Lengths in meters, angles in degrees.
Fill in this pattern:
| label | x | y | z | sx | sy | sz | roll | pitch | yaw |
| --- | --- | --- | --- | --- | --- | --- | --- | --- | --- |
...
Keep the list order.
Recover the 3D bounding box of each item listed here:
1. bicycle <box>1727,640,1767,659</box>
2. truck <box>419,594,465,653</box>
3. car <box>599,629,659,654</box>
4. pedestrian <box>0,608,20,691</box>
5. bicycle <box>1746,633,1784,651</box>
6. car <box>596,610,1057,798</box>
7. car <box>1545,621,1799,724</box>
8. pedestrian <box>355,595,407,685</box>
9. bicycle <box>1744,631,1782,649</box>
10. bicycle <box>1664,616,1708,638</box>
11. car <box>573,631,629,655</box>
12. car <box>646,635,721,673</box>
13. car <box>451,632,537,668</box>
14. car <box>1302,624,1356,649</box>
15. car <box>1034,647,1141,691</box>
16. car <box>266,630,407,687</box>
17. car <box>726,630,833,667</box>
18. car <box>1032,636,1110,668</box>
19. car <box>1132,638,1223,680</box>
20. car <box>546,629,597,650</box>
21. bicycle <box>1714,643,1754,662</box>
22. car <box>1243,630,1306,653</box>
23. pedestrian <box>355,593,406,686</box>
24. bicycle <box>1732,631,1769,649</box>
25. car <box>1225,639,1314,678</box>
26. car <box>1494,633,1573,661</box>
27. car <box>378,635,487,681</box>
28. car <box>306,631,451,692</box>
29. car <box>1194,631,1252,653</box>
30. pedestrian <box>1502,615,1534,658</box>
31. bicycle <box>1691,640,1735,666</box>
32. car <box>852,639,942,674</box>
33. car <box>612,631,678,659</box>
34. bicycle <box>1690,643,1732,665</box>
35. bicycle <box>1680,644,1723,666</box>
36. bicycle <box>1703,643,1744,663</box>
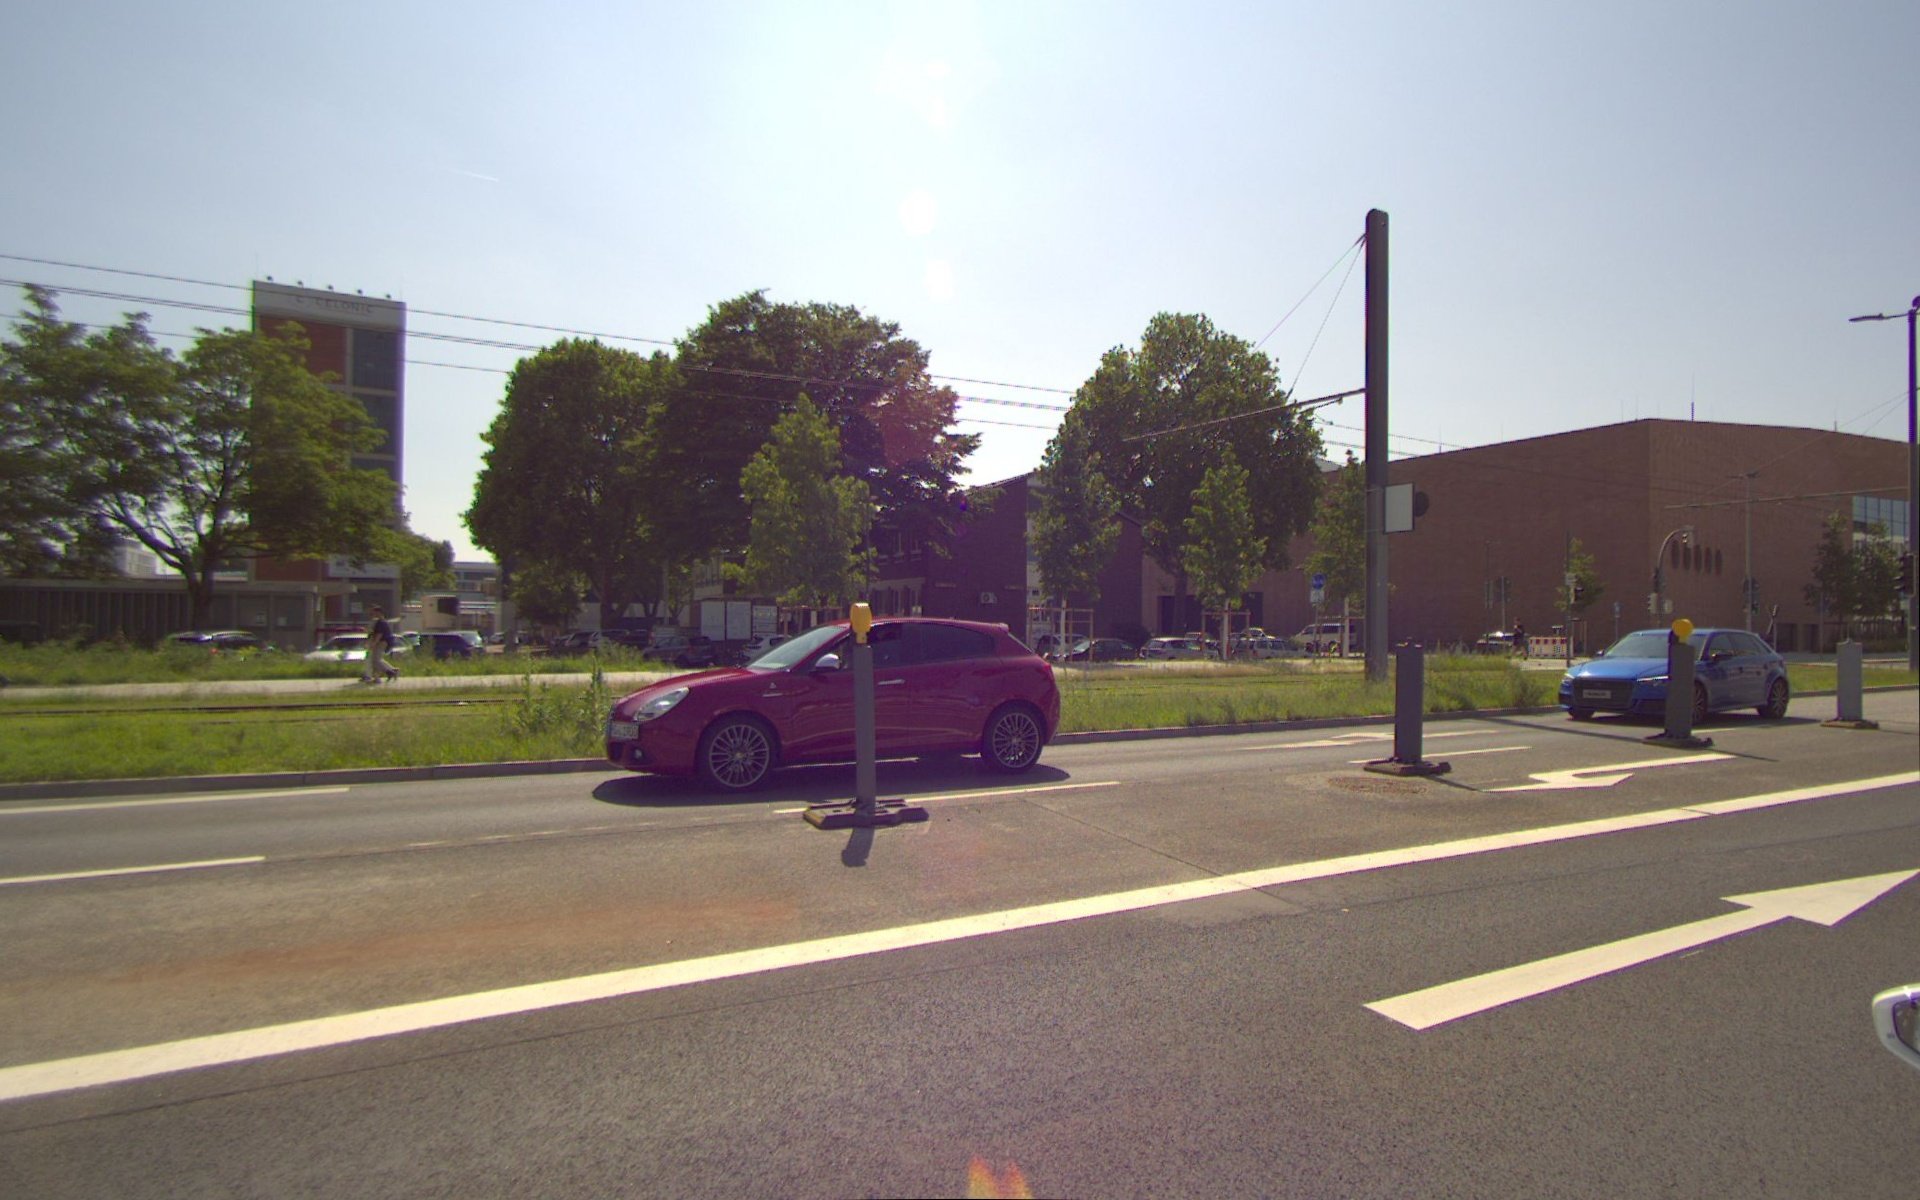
| label | x | y | z | sx | sy | sz | roll | pitch | yaw |
| --- | --- | --- | --- | --- | --- | --- | --- | --- | --- |
| bicycle | 53.091 | 3.316 | 67.789 | 0.535 | 1.228 | 2.035 | 1 | -1 | -39 |
| truck | -40.859 | 1.703 | 78.961 | 2.854 | 4.136 | 12.545 | 1 | 0 | -29 |
| car | -20.620 | 2.593 | 62.606 | 3.307 | 1.472 | 1.529 | 1 | 0 | -31 |
| pedestrian | -19.414 | 0.971 | 19.959 | 0.815 | 1.597 | 0.812 | 1 | 1 | -23 |
| bicycle | 56.652 | 2.946 | 70.679 | 0.535 | 1.228 | 2.035 | 1 | -1 | -39 |
| car | -1.185 | 0.866 | 9.314 | 3.948 | 1.435 | 1.574 | 2 | -2 | -27 |
| car | 11.325 | 1.084 | 15.919 | 4.238 | 1.446 | 1.621 | 1 | -2 | -29 |
| pedestrian | -13.545 | 0.923 | 23.537 | 0.970 | 2.040 | 0.836 | 1 | 0 | -26 |
| bicycle | 56.248 | 2.793 | 70.376 | 0.535 | 1.228 | 2.035 | 1 | -1 | -39 |
| bicycle | 43.316 | 1.601 | 59.950 | 0.535 | 1.228 | 2.033 | 1 | -1 | -40 |
| car | -24.080 | 2.874 | 67.427 | 3.307 | 1.472 | 1.529 | 1 | 0 | -31 |
| car | -12.080 | 2.315 | 43.819 | 1.533 | 1.476 | 3.701 | 1 | -1 | -45 |
| car | -20.359 | 2.157 | 43.903 | 3.307 | 1.472 | 1.529 | 1 | 0 | -31 |
| car | 27.068 | 2.668 | 73.760 | 1.673 | 1.712 | 3.529 | 1 | 0 | -28 |
| car | 5.566 | 2.969 | 43.741 | 4.475 | 1.784 | 1.691 | 2 | -1 | -29 |
| car | -19.272 | 1.759 | 31.142 | 3.599 | 1.612 | 1.757 | 1 | 0 | -34 |
| car | -7.686 | 2.036 | 42.875 | 4.215 | 1.476 | 1.532 | 1 | -1 | -29 |
| car | 5.585 | 2.598 | 50.585 | 3.741 | 1.476 | 1.532 | 1 | -1 | -29 |
| car | 9.994 | 2.701 | 46.088 | 3.891 | 1.784 | 1.691 | 2 | -1 | -28 |
| car | -28.832 | 2.908 | 74.577 | 3.307 | 1.472 | 1.529 | 1 | 0 | -31 |
| bicycle | 50.923 | 3.450 | 66.126 | 0.535 | 1.228 | 2.035 | 1 | -1 | -39 |
| car | 21.124 | 2.773 | 67.675 | 1.972 | 1.421 | 3.978 | 2 | -1 | -23 |
| pedestrian | -13.054 | 0.873 | 22.655 | 0.898 | 2.040 | 0.980 | 1 | 0 | -26 |
| bicycle | 53.864 | 2.718 | 68.441 | 0.739 | 1.228 | 1.871 | 1 | -1 | -35 |
| car | 15.162 | 2.876 | 49.157 | 4.248 | 1.784 | 1.691 | 2 | -1 | -29 |
| car | 31.280 | 2.547 | 54.831 | 1.554 | 1.388 | 3.463 | 1 | 0 | -29 |
| car | -20.462 | 2.225 | 39.005 | 3.599 | 1.612 | 1.757 | 1 | 0 | -34 |
| car | -17.149 | 1.768 | 29.666 | 3.599 | 1.612 | 1.757 | 1 | 0 | -34 |
| car | 18.730 | 2.992 | 71.615 | 1.972 | 1.421 | 3.978 | 2 | -1 | -23 |
| pedestrian | 24.903 | 1.626 | 44.850 | 1.093 | 1.871 | 0.808 | 1 | -1 | -29 |
| bicycle | 45.301 | 3.179 | 60.435 | 0.535 | 1.472 | 2.035 | 1 | -1 | -39 |
| car | -2.805 | 2.504 | 45.042 | 3.747 | 1.476 | 1.529 | 2 | -1 | -33 |
| car | -17.956 | 2.556 | 57.244 | 3.307 | 1.472 | 1.529 | 1 | 0 | -31 |
| bicycle | 46.683 | 3.348 | 62.435 | 0.535 | 1.228 | 2.035 | 1 | -1 | -39 |
| bicycle | 44.851 | 3.299 | 60.735 | 0.535 | 1.228 | 2.035 | 1 | -1 | -39 |
| bicycle | 49.063 | 3.416 | 64.600 | 0.535 | 1.228 | 2.035 | 1 | -1 | -39 |
